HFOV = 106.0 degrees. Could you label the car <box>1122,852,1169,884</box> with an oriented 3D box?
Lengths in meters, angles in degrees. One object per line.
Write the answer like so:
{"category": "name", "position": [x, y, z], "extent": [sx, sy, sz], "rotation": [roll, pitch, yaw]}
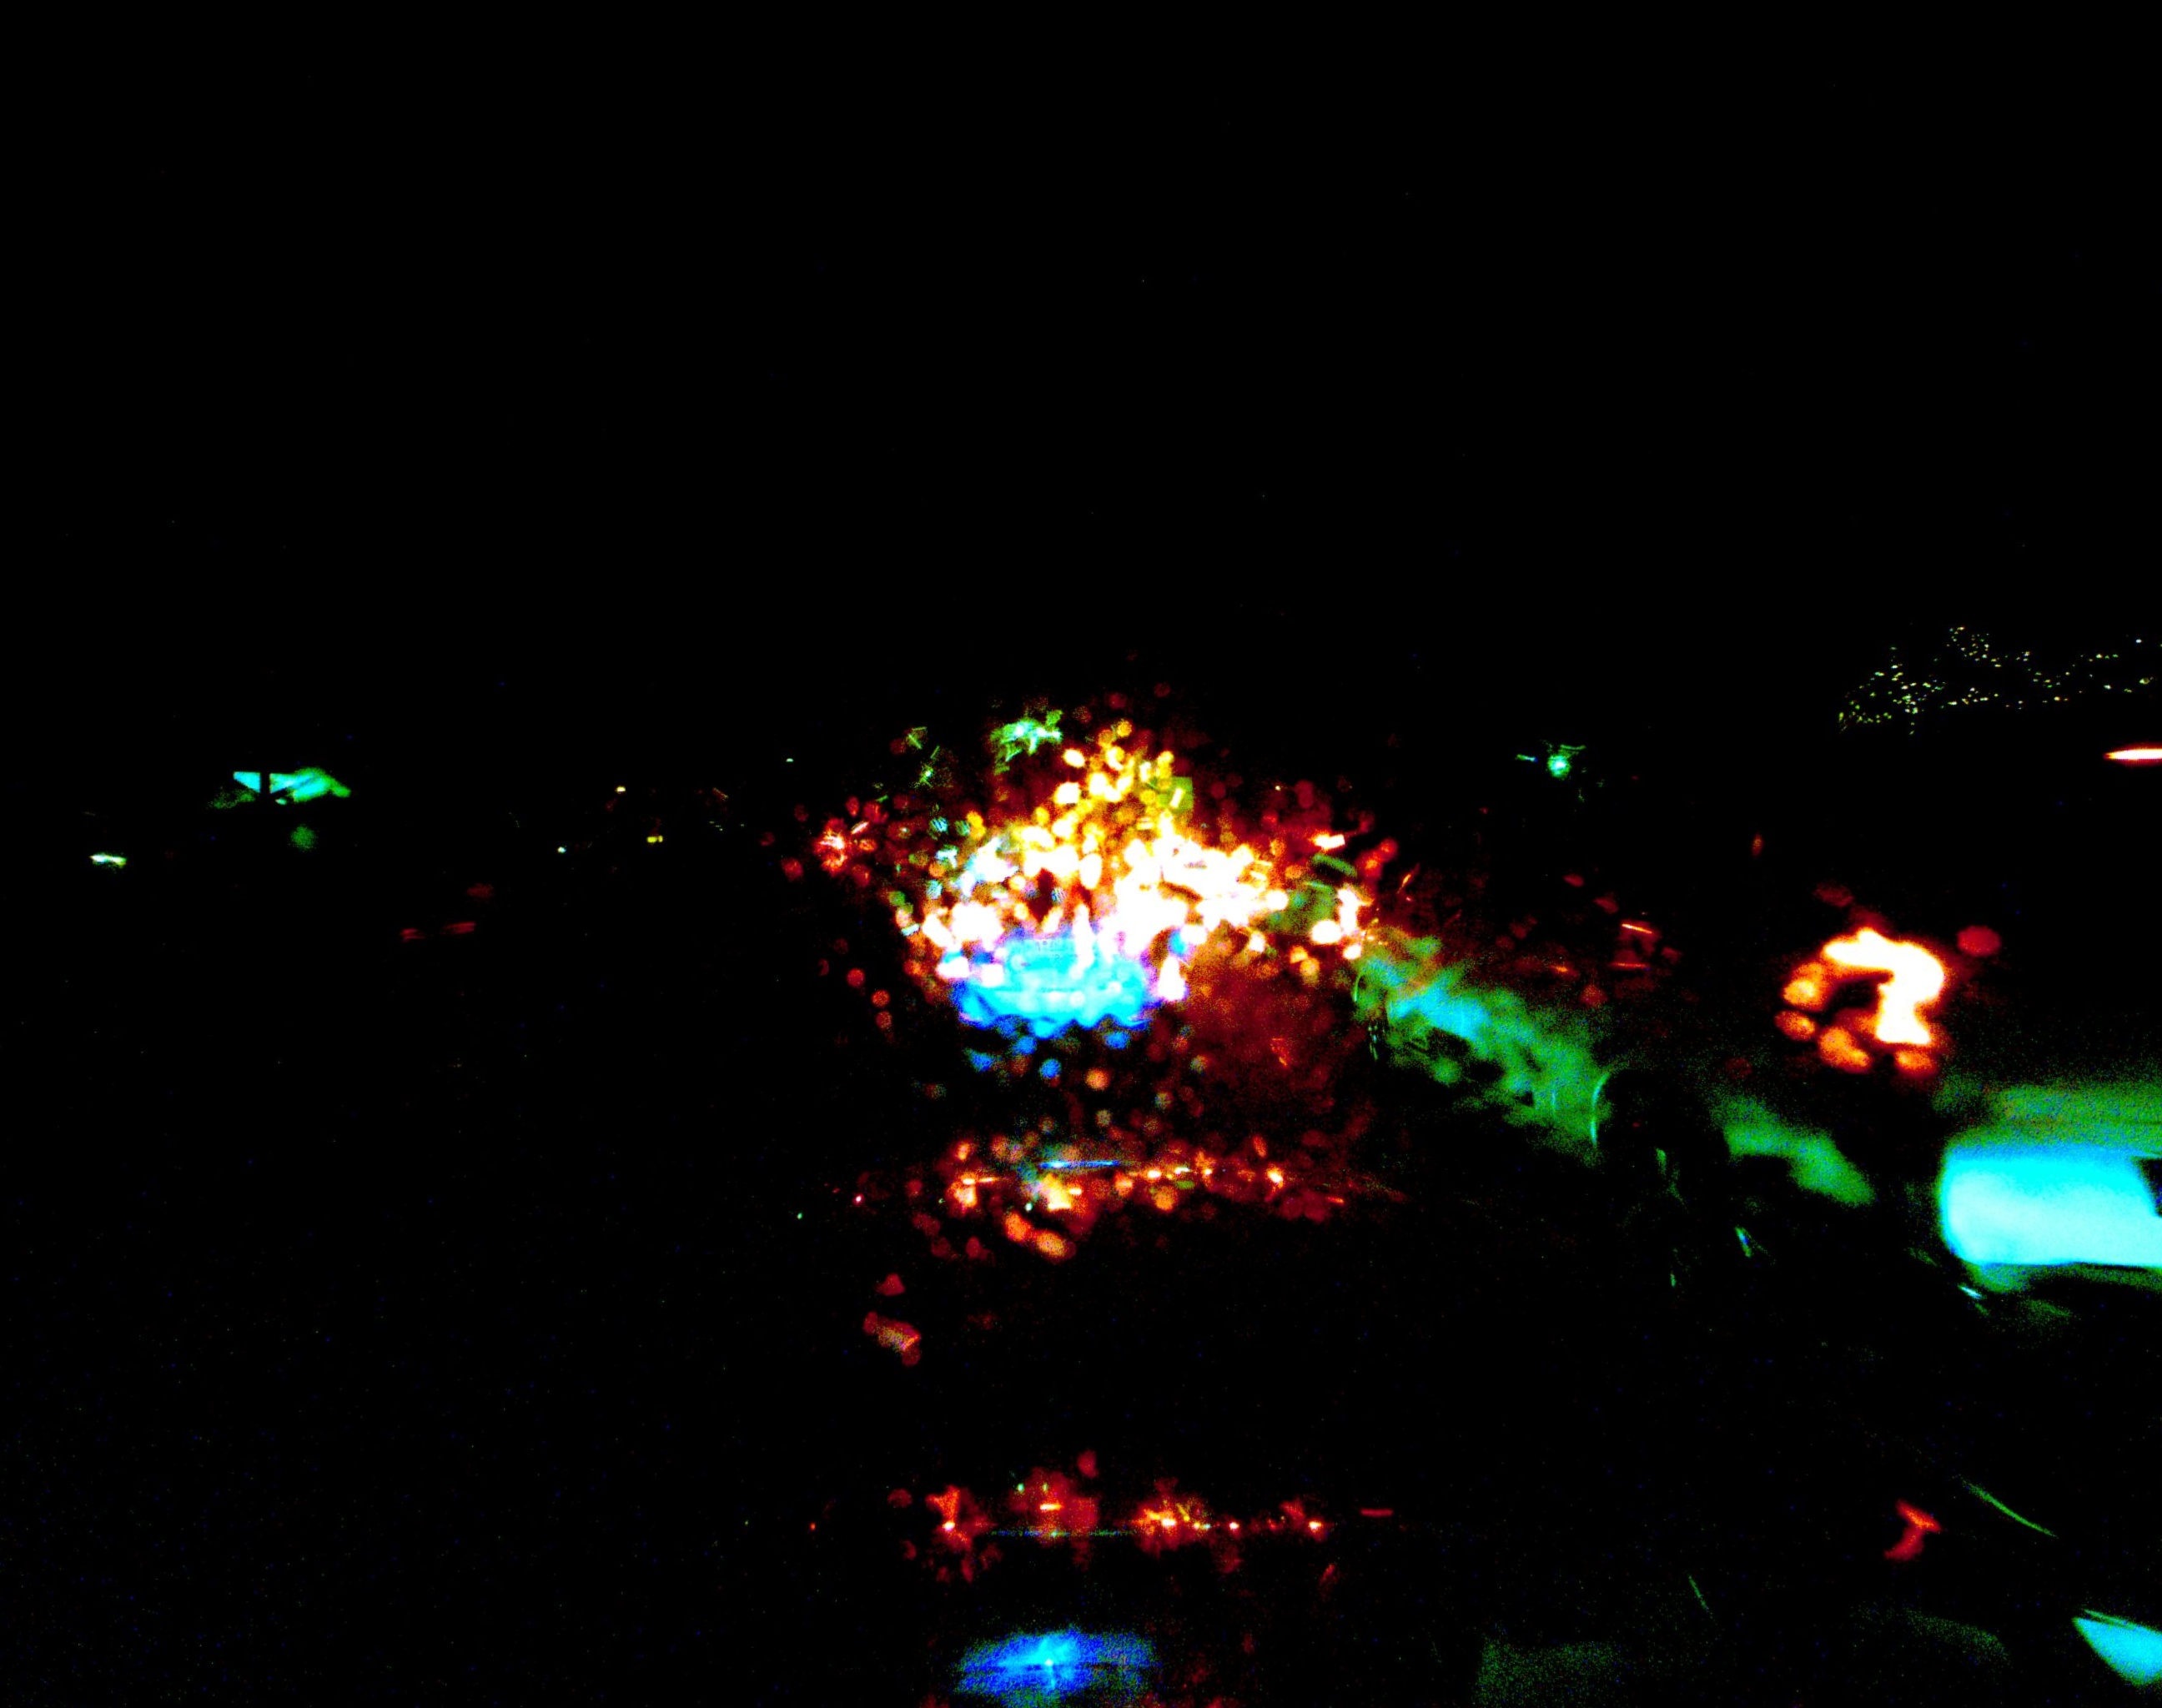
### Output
{"category": "car", "position": [3.148, 0.678, 40.503], "extent": [1.853, 1.544, 3.927], "rotation": [0, -1, -2]}

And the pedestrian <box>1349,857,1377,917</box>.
{"category": "pedestrian", "position": [8.109, 0.935, 23.439], "extent": [0.621, 1.701, 0.541], "rotation": [0, -1, -1]}

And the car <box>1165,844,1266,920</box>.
{"category": "car", "position": [3.268, 0.660, 20.530], "extent": [1.986, 1.718, 4.001], "rotation": [0, -1, 2]}

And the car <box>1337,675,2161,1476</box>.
{"category": "car", "position": [2.829, 0.527, 4.069], "extent": [1.845, 1.865, 4.342], "rotation": [0, -1, 2]}

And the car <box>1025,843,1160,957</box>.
{"category": "car", "position": [0.231, 0.697, 14.068], "extent": [1.986, 1.684, 4.001], "rotation": [0, -1, 2]}

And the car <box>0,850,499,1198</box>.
{"category": "car", "position": [-5.961, 0.820, 4.630], "extent": [1.880, 1.568, 4.489], "rotation": [-1, 1, 2]}

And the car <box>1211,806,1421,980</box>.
{"category": "car", "position": [3.099, 0.480, 11.645], "extent": [1.961, 2.047, 4.001], "rotation": [0, -1, 2]}

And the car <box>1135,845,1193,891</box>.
{"category": "car", "position": [3.359, 0.561, 33.579], "extent": [1.987, 1.773, 4.000], "rotation": [0, -1, 0]}

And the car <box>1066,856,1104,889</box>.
{"category": "car", "position": [0.186, 1.068, 47.918], "extent": [1.989, 1.824, 3.995], "rotation": [0, -1, -3]}

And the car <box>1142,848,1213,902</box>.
{"category": "car", "position": [3.113, 0.664, 27.036], "extent": [1.986, 1.670, 4.001], "rotation": [0, -1, 2]}

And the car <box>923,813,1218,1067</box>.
{"category": "car", "position": [-0.061, 0.603, 7.797], "extent": [2.008, 1.717, 4.451], "rotation": [0, -1, 0]}
